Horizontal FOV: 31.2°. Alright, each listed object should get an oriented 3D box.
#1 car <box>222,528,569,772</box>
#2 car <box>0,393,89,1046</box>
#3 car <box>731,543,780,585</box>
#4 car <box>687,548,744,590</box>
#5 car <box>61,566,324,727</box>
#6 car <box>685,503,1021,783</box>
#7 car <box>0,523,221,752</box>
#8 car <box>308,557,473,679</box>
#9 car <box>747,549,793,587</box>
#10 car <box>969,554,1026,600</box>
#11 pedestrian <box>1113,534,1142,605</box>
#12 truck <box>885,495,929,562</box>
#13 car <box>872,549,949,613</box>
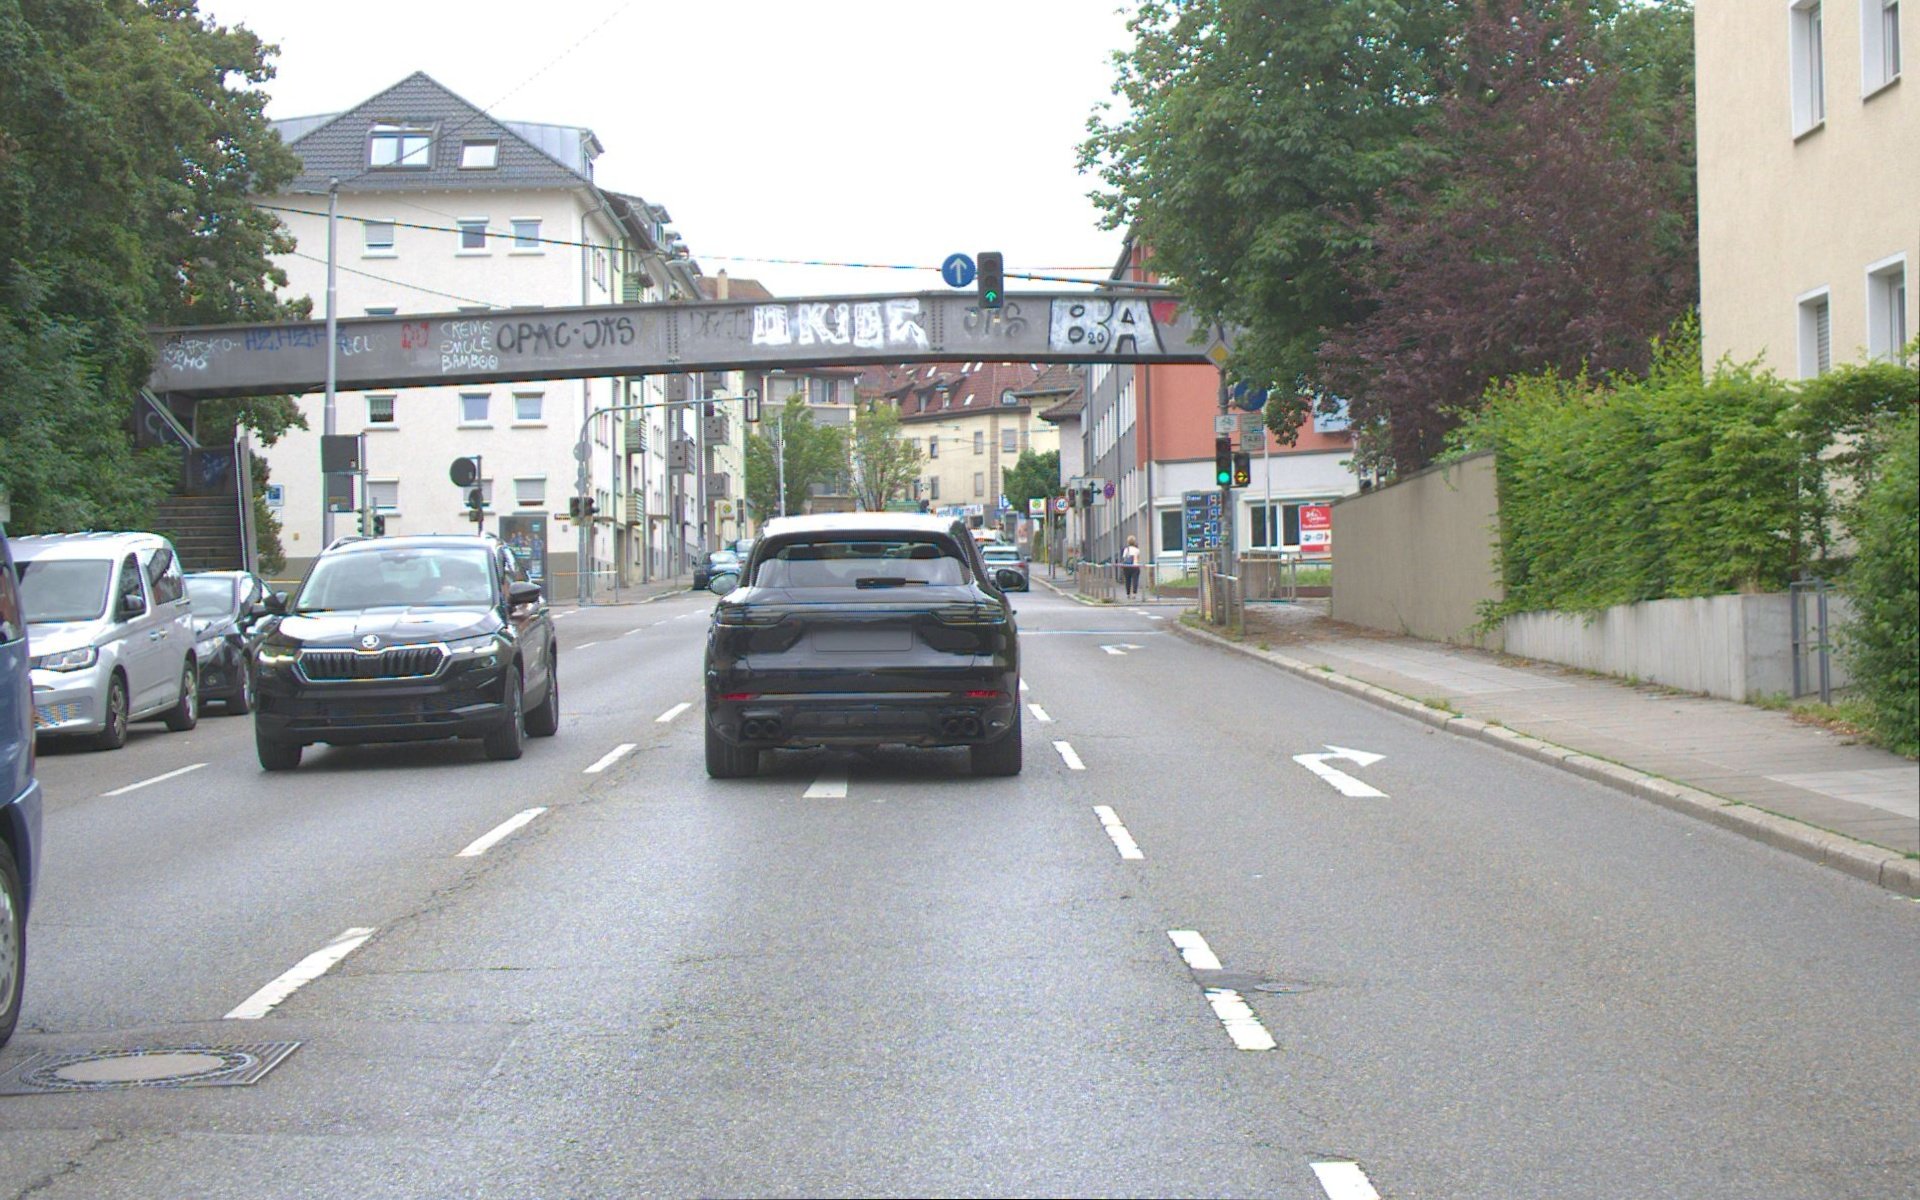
[{"bbox_3d":[-4.027,0.299,25.169,1.840,1.585,4.164,-2,1,0],"label":"car"},{"bbox_3d":[-3.746,0.392,8.696,1.931,1.894,4.590,-1,1,-1],"label":"car"},{"bbox_3d":[-8.453,-1.497,142.266,1.765,1.644,4.000,-1,1,0],"label":"car"},{"bbox_3d":[-8.907,-1.146,125.656,1.765,1.503,4.000,-1,1,0],"label":"car"},{"bbox_3d":[-7.616,0.421,34.456,1.745,1.434,3.913,-2,1,-1],"label":"car"},{"bbox_3d":[-0.646,0.202,22.536,1.993,1.656,4.000,0,2,0],"label":"car"},{"bbox_3d":[-7.612,0.272,28.961,1.776,1.748,4.558,-2,1,-1],"label":"car"},{"bbox_3d":[-7.910,0.214,48.009,1.745,1.563,3.909,-2,1,-2],"label":"car"},{"bbox_3d":[-8.358,-1.420,151.209,1.765,1.644,4.000,-1,1,0],"label":"car"},{"bbox_3d":[1.186,-0.750,110.250,1.741,1.395,4.000,0,2,0],"label":"car"},{"bbox_3d":[4.302,-0.786,88.183,0.652,1.786,0.715,-1,1,-3],"label":"pedestrian"},{"bbox_3d":[-2.830,-3.782,183.838,2.266,3.412,9.879,-1,1,-1],"label":"truck"},{"bbox_3d":[-1.139,-0.465,80.256,1.741,1.395,4.000,0,2,0],"label":"car"}]
